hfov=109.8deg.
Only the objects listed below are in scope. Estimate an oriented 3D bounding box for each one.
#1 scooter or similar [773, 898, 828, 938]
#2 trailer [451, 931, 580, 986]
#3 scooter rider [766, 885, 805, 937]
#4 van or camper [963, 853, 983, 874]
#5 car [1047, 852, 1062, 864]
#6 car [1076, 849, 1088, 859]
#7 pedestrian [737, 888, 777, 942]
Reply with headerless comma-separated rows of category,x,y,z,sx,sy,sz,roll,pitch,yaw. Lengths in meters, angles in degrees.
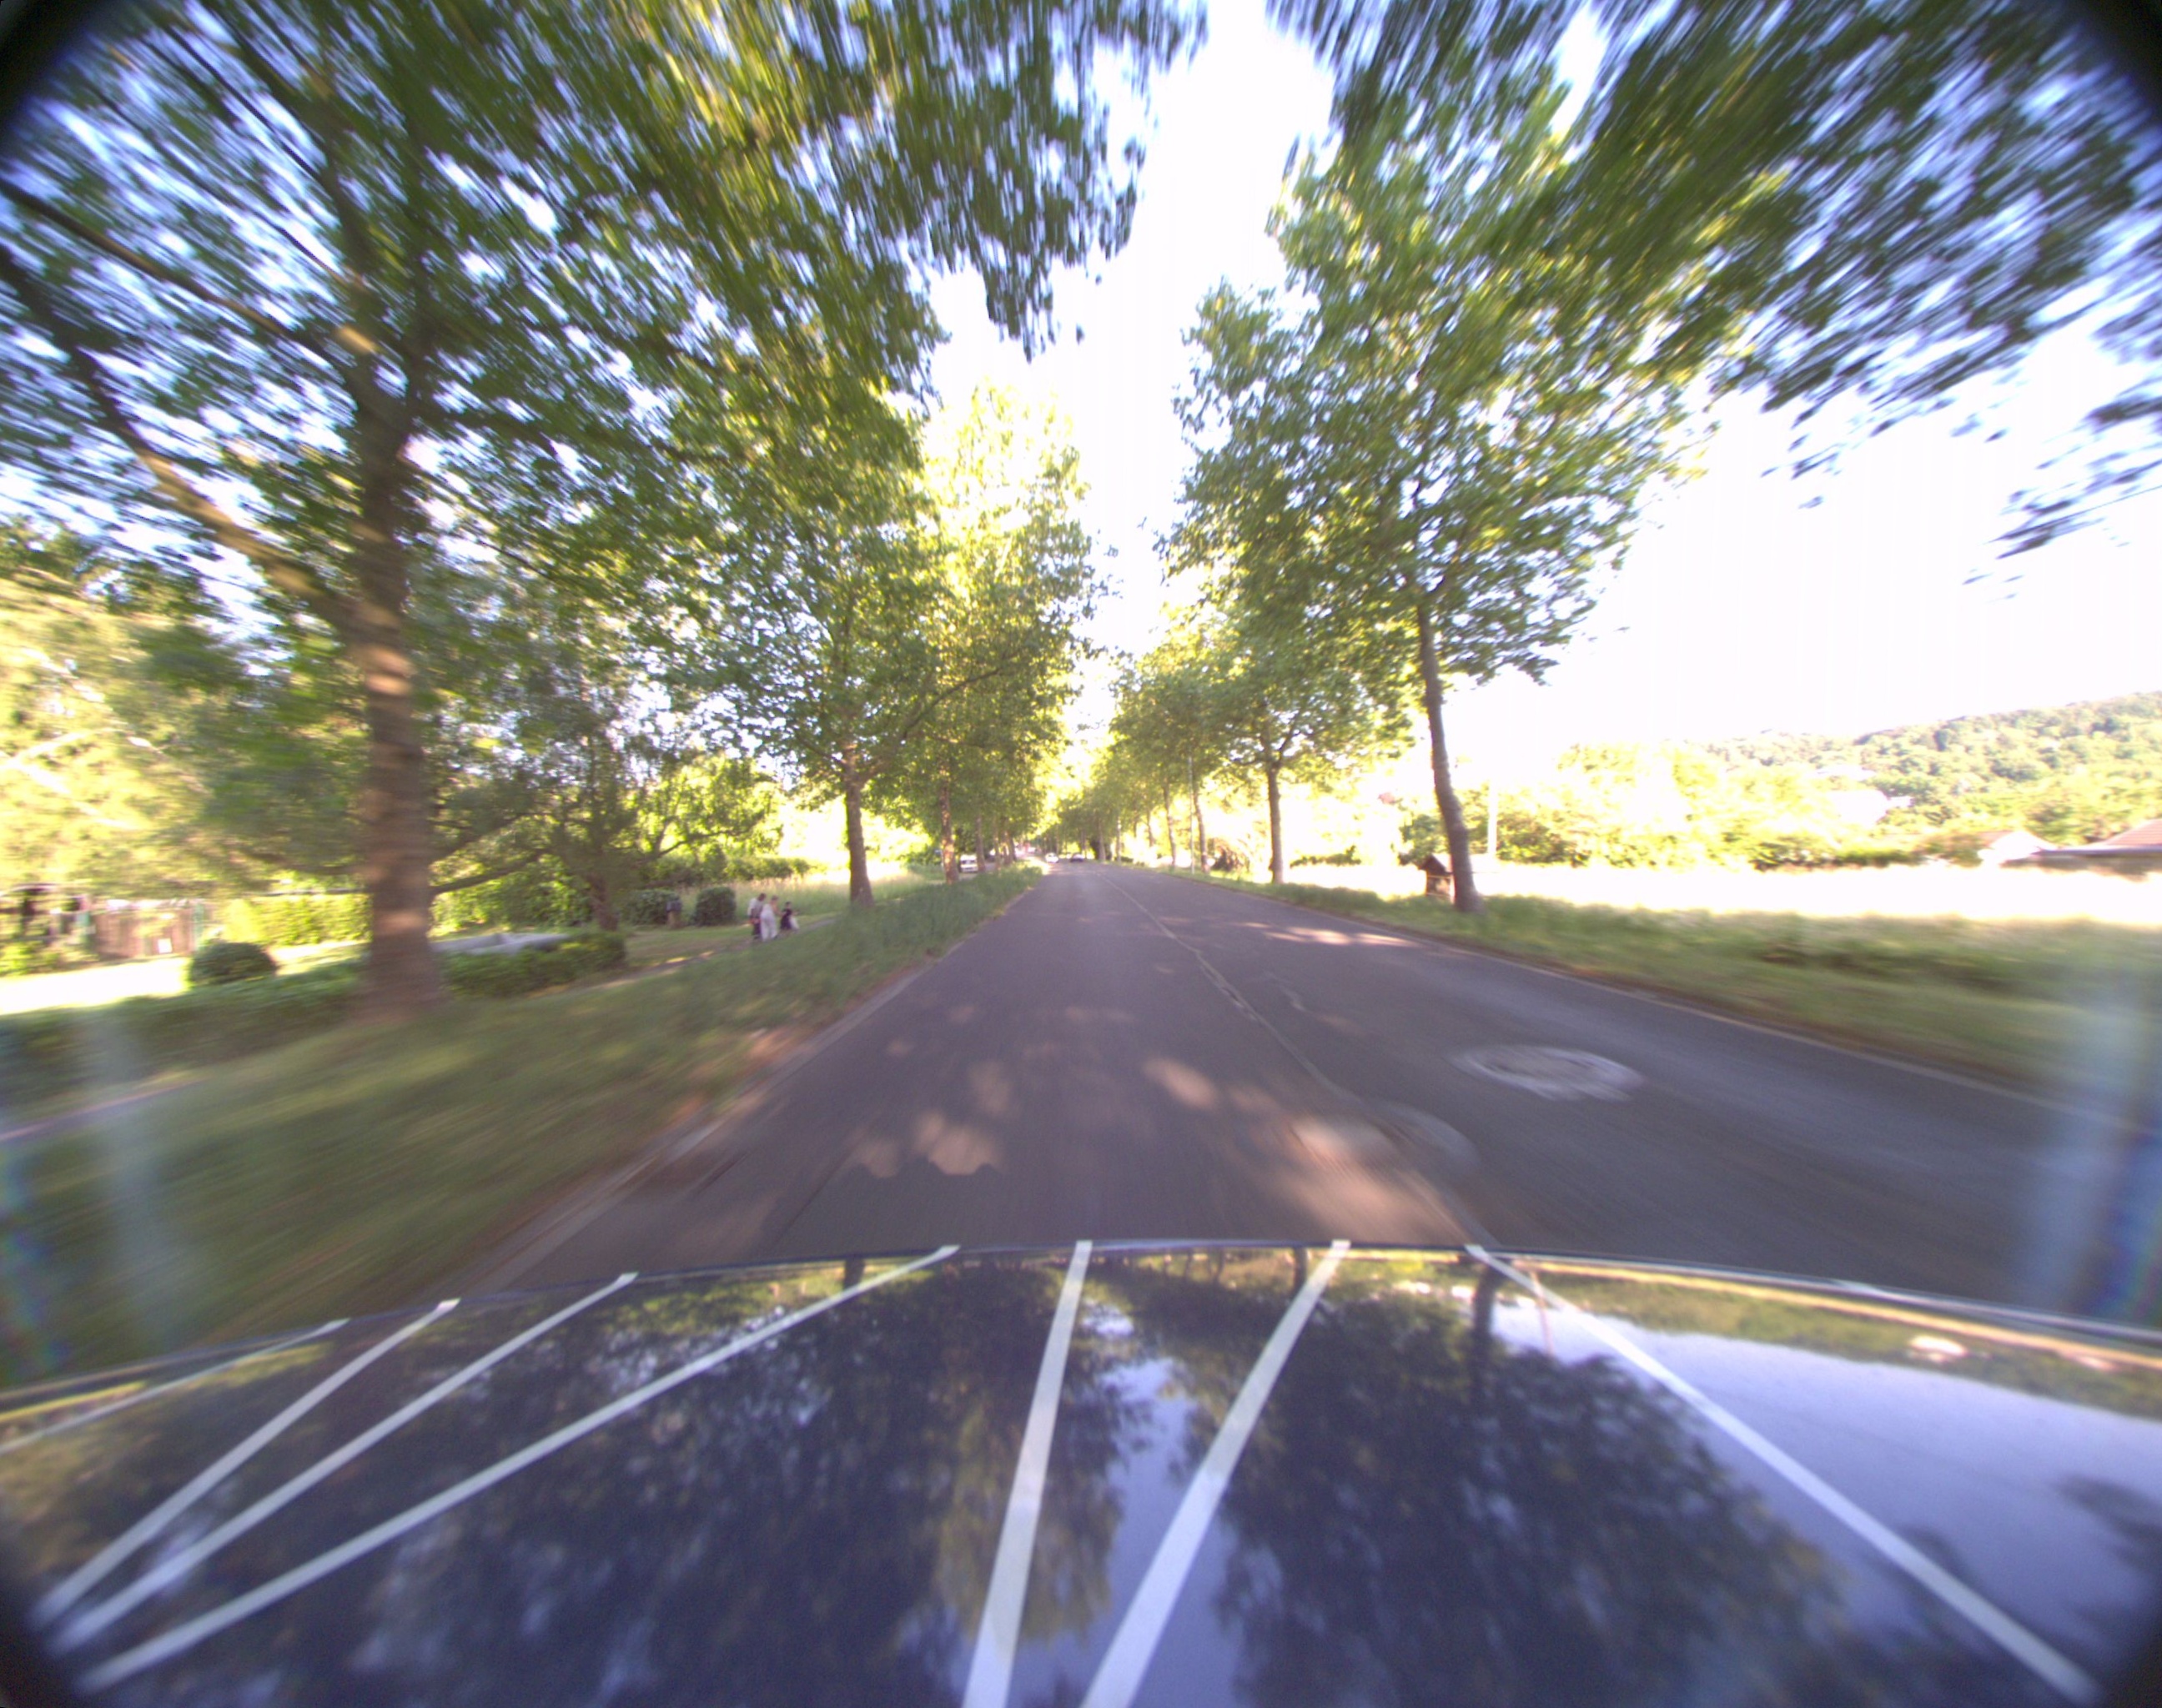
scooter or similar,-9.050,2.052,24.534,1.602,1.129,0.340,-4,2,-44
trailer,-13.314,2.445,17.940,2.122,1.046,1.201,-2,1,4
scooter rider,-9.481,1.807,24.394,0.782,1.567,0.846,-1,2,44
van or camper,-15.518,1.344,109.164,2.387,2.784,5.682,-2,1,-4
car,-3.954,0.579,112.151,1.999,1.656,3.998,-2,1,-3
car,0.113,-0.011,115.034,1.720,1.496,3.998,-2,1,-2
pedestrian,-10.155,1.885,23.785,0.846,1.567,0.782,-4,2,-45
